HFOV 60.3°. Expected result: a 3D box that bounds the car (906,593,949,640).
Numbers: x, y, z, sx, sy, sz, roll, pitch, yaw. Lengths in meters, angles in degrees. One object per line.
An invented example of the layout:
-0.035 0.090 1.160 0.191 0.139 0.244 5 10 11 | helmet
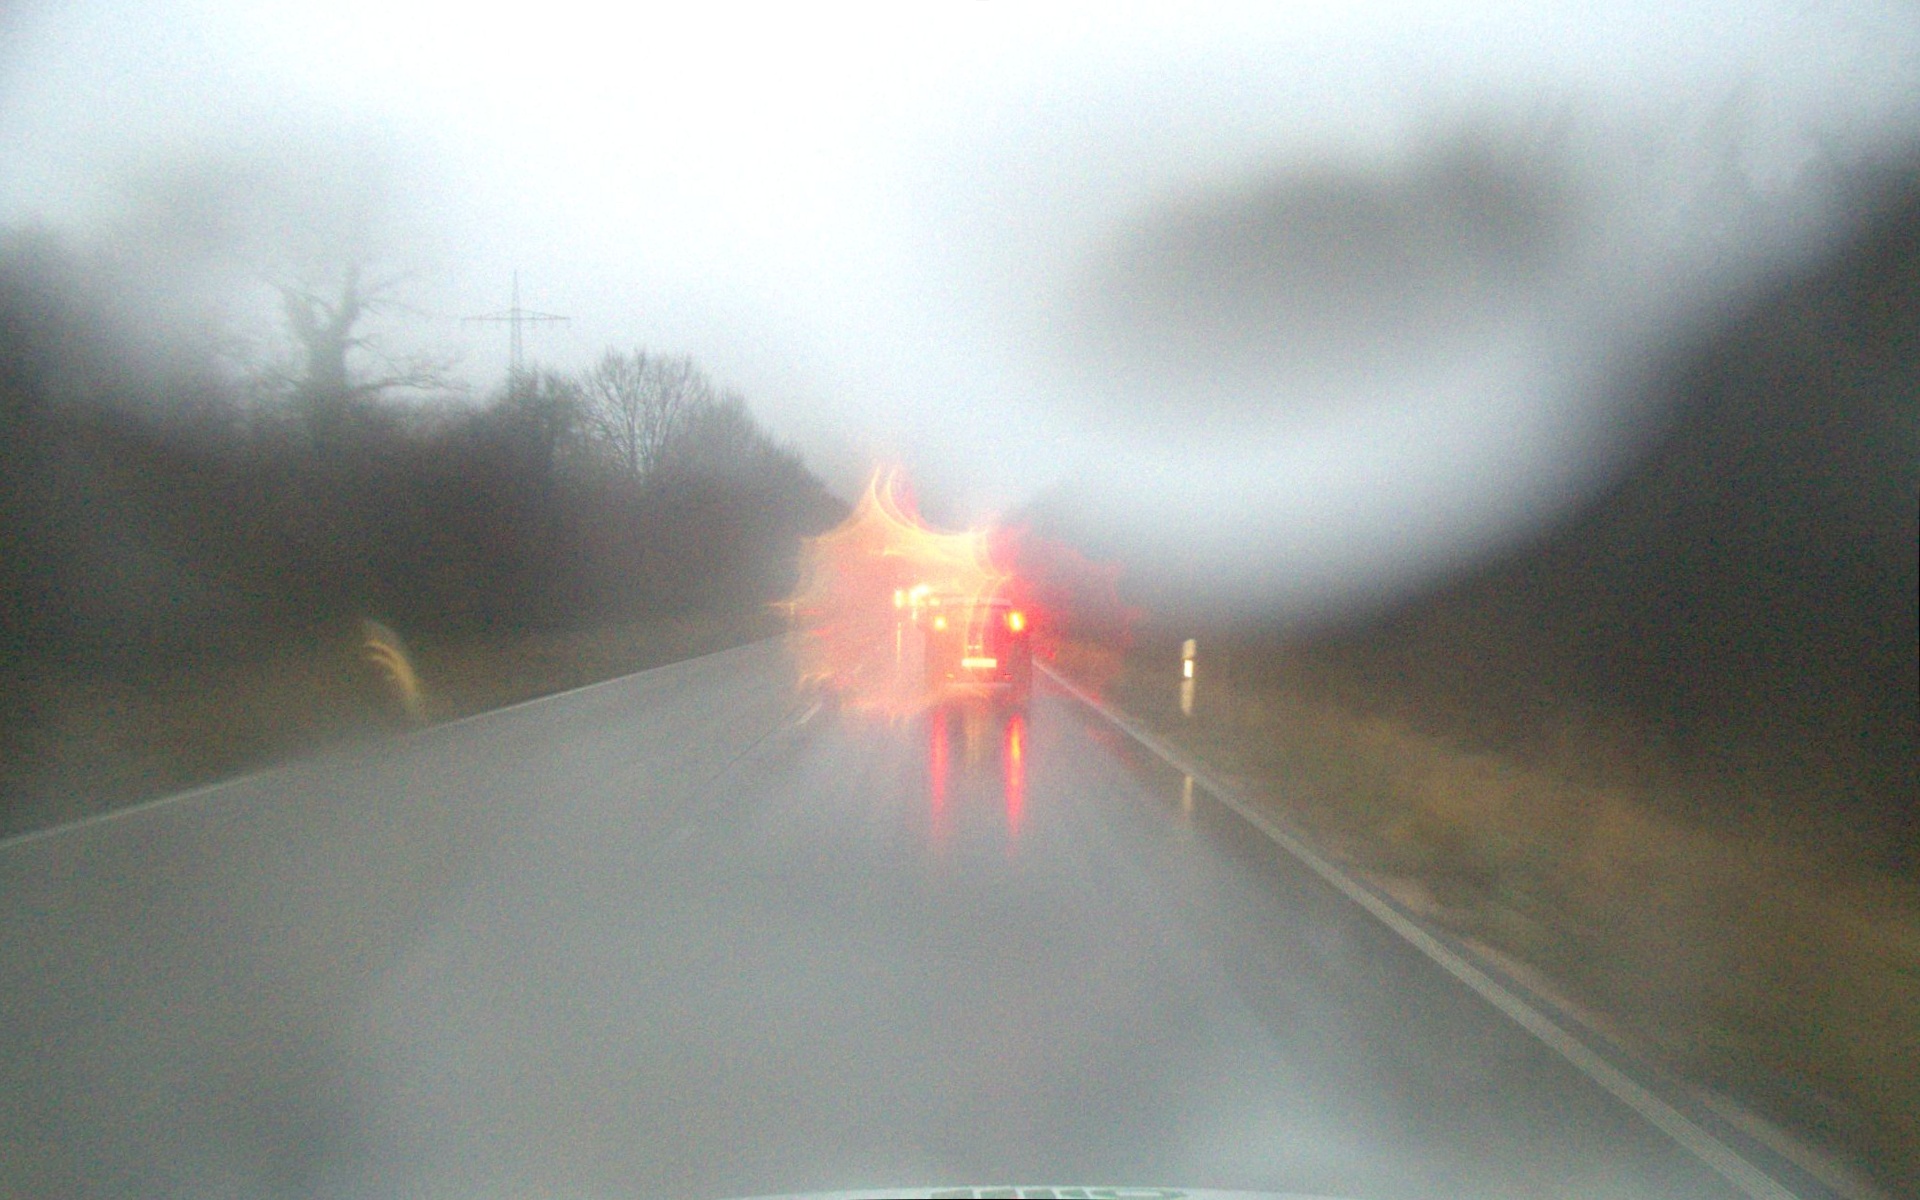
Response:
-1.315 0.646 66.729 1.698 1.810 3.999 0 0 -1 | car

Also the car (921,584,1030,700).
0.207 0.617 26.149 1.614 1.701 3.513 0 0 -1 | car
